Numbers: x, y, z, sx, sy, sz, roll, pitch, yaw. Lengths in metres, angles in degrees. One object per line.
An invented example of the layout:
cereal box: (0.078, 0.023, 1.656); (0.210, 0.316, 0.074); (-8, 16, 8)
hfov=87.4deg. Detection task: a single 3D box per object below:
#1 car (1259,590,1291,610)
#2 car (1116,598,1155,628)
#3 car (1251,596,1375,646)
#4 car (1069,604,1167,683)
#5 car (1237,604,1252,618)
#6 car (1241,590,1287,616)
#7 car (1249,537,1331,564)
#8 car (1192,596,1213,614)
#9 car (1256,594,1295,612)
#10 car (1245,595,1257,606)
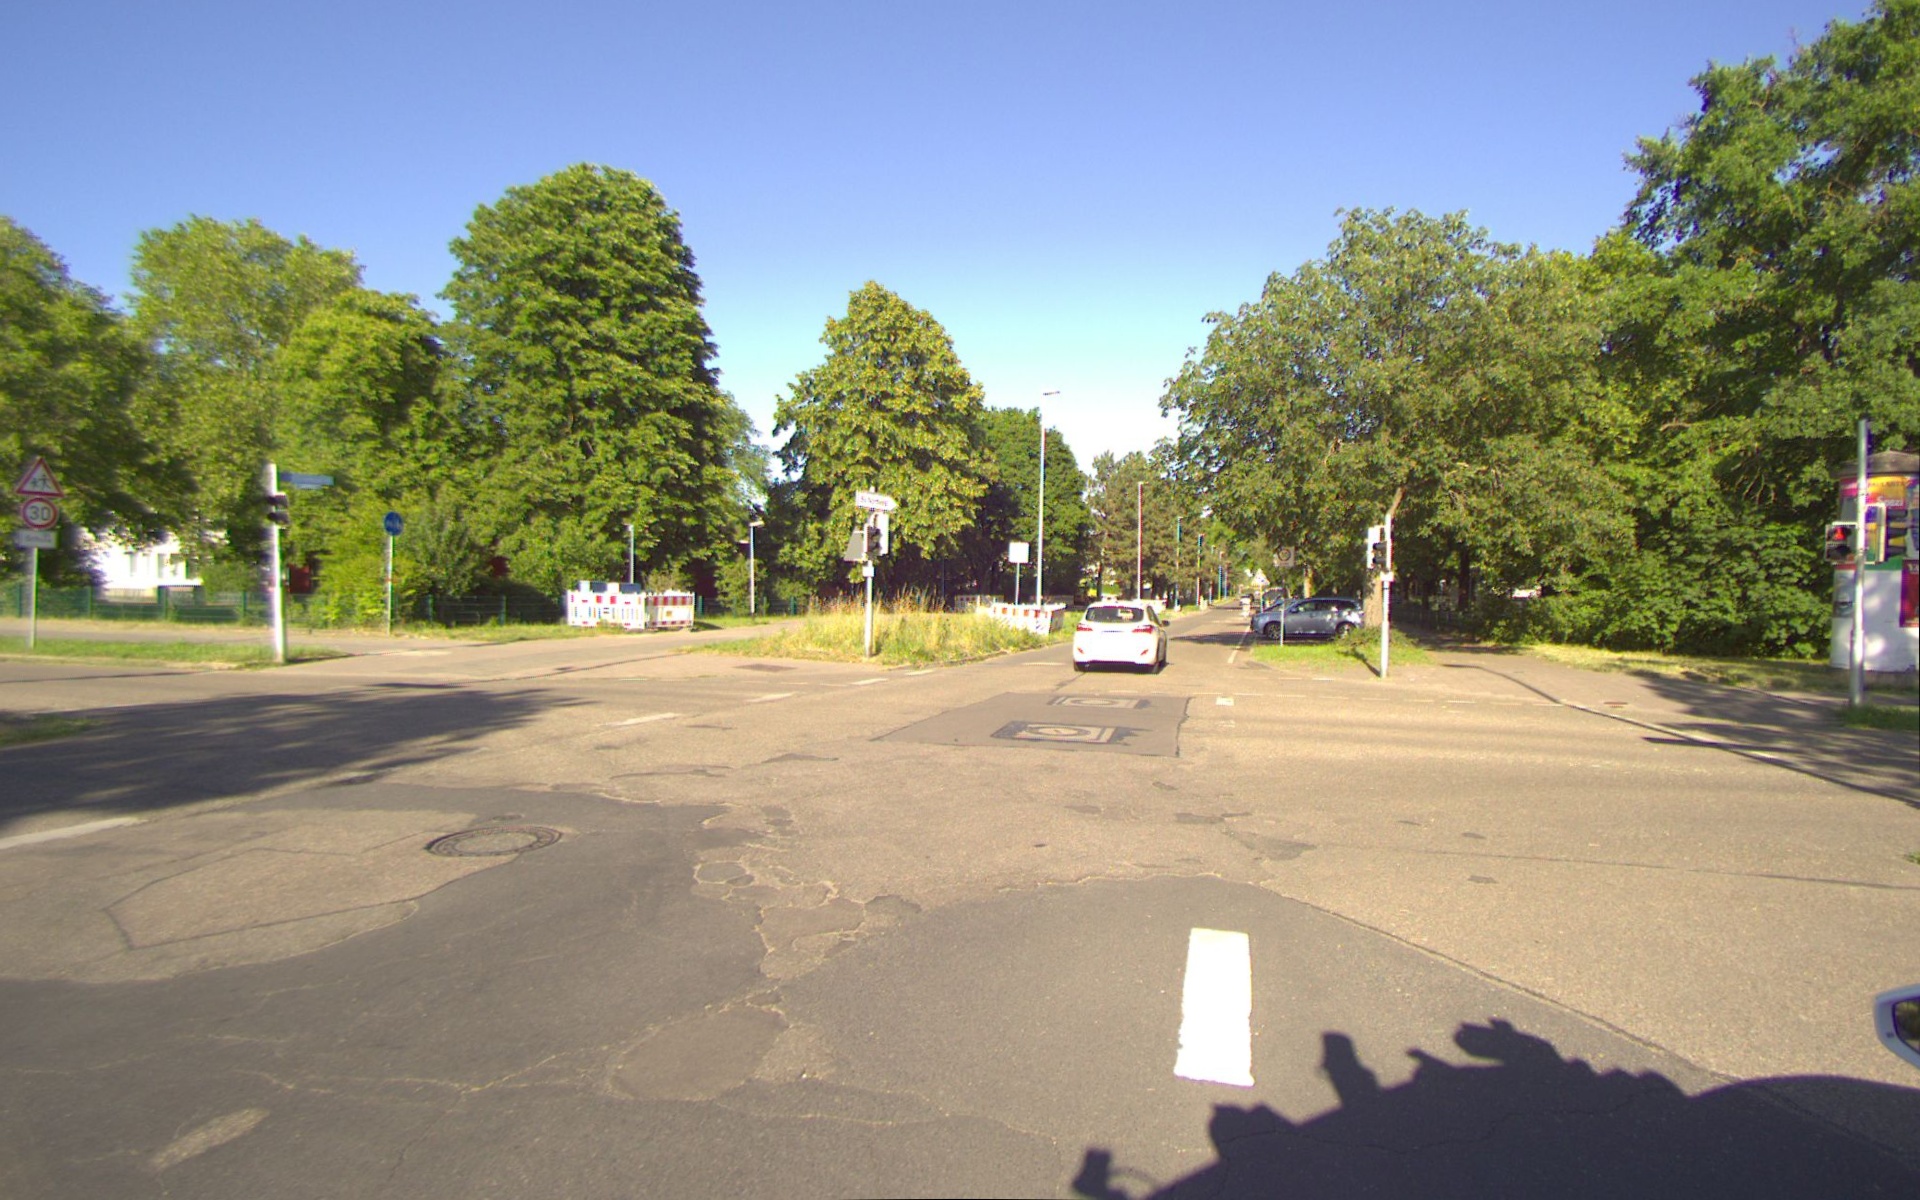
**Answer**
car: (39.620, -0.040, 126.495); (3.755, 2.329, 1.864); (3, 0, 17)
car: (11.469, 0.823, 65.342); (1.960, 1.840, 4.001); (1, 0, 17)
car: (13.826, 0.797, 39.475); (4.424, 1.807, 1.855); (1, 0, 20)
car: (3.555, 0.880, 22.092); (1.759, 1.483, 3.965); (2, 1, 14)
car: (41.784, 1.625, 147.617); (1.960, 1.840, 4.001); (2, 0, 17)
car: (27.164, 0.279, 89.779); (3.755, 2.126, 1.864); (3, 0, 17)
car: (24.088, -3.600, 73.490); (5.520, 1.706, 1.948); (3, 0, 17)
car: (26.892, 0.584, 111.310); (1.960, 1.840, 4.001); (3, 0, 17)
car: (36.256, 0.326, 115.563); (4.230, 1.933, 1.864); (3, 0, 17)
car: (53.183, 0.056, 183.342); (1.960, 1.840, 4.001); (3, 0, 17)
